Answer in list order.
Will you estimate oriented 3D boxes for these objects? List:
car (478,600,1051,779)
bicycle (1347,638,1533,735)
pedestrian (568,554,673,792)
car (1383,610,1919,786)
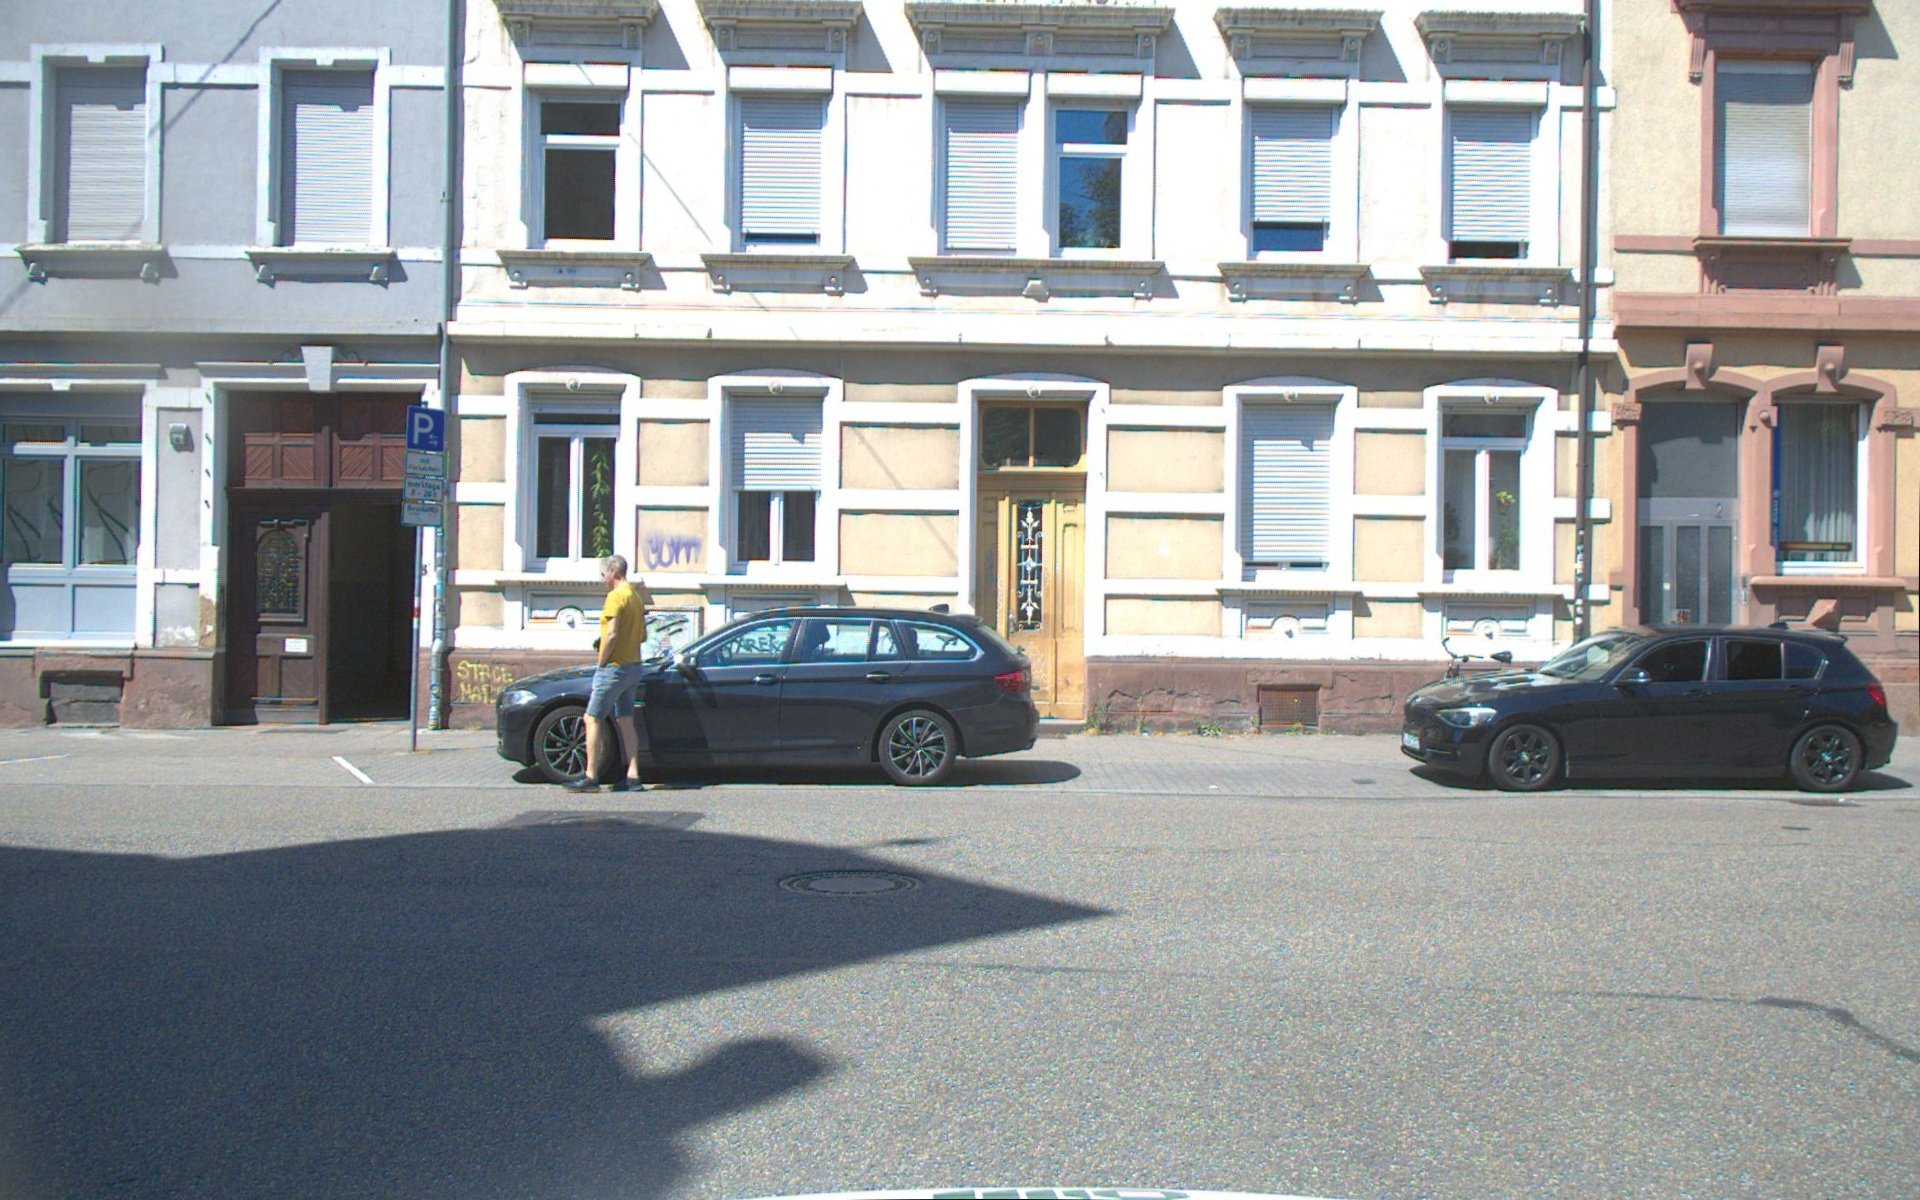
[{"bbox_3d":[-1.628,0.750,14.769,4.760,1.462,2.000,0,-1,0],"label":"car"},{"bbox_3d":[5.354,0.959,18.495,1.964,1.039,0.424,0,2,-3],"label":"bicycle"},{"bbox_3d":[-2.762,0.582,13.491,0.710,1.886,0.685,0,-1,0],"label":"pedestrian"},{"bbox_3d":[6.154,0.838,14.938,4.206,1.394,1.807,0,2,0],"label":"car"}]
